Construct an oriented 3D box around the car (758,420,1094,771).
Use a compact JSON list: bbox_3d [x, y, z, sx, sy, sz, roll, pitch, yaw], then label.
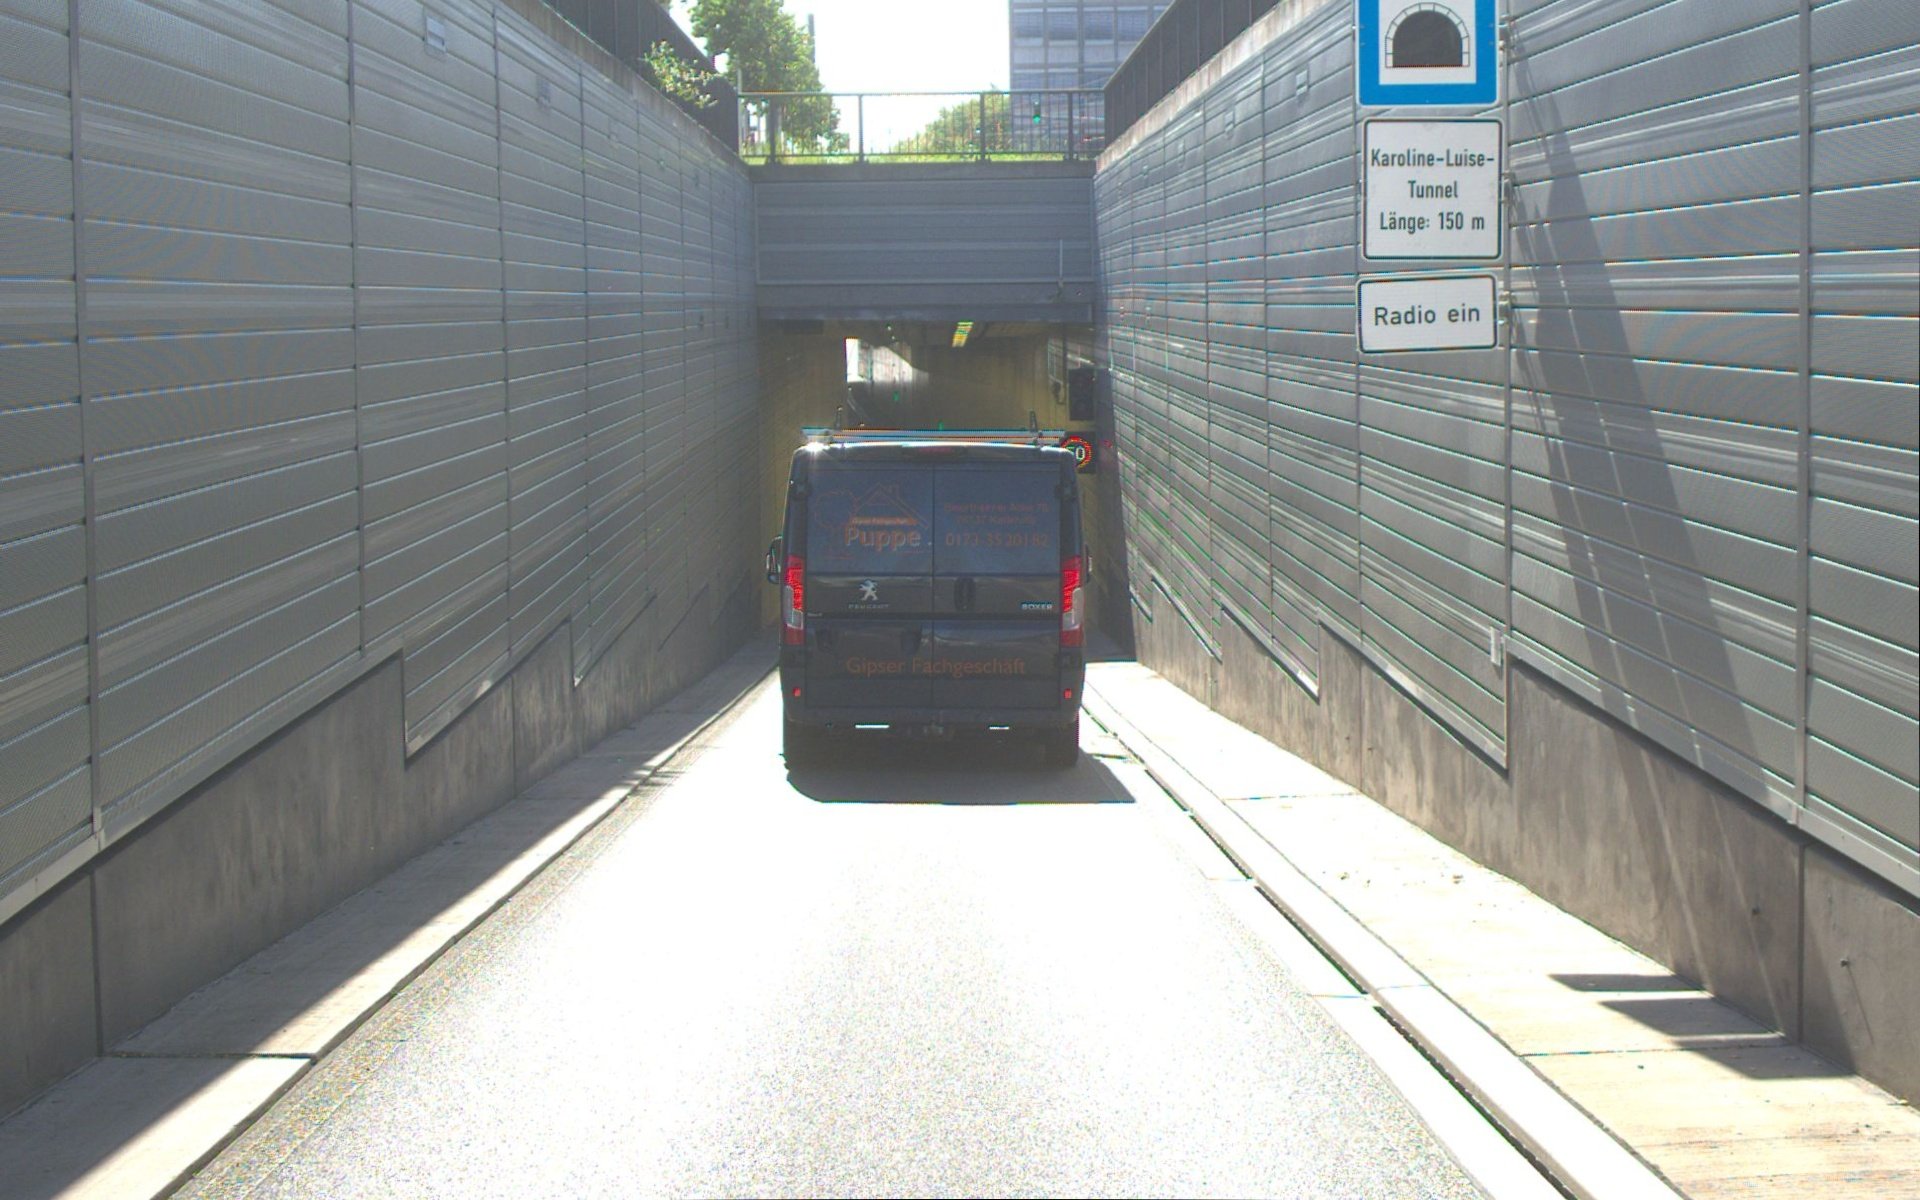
[{"bbox_3d":[-0.227,-0.086,24.686,2.158,2.258,4.637,1,1,0],"label":"car"}]
